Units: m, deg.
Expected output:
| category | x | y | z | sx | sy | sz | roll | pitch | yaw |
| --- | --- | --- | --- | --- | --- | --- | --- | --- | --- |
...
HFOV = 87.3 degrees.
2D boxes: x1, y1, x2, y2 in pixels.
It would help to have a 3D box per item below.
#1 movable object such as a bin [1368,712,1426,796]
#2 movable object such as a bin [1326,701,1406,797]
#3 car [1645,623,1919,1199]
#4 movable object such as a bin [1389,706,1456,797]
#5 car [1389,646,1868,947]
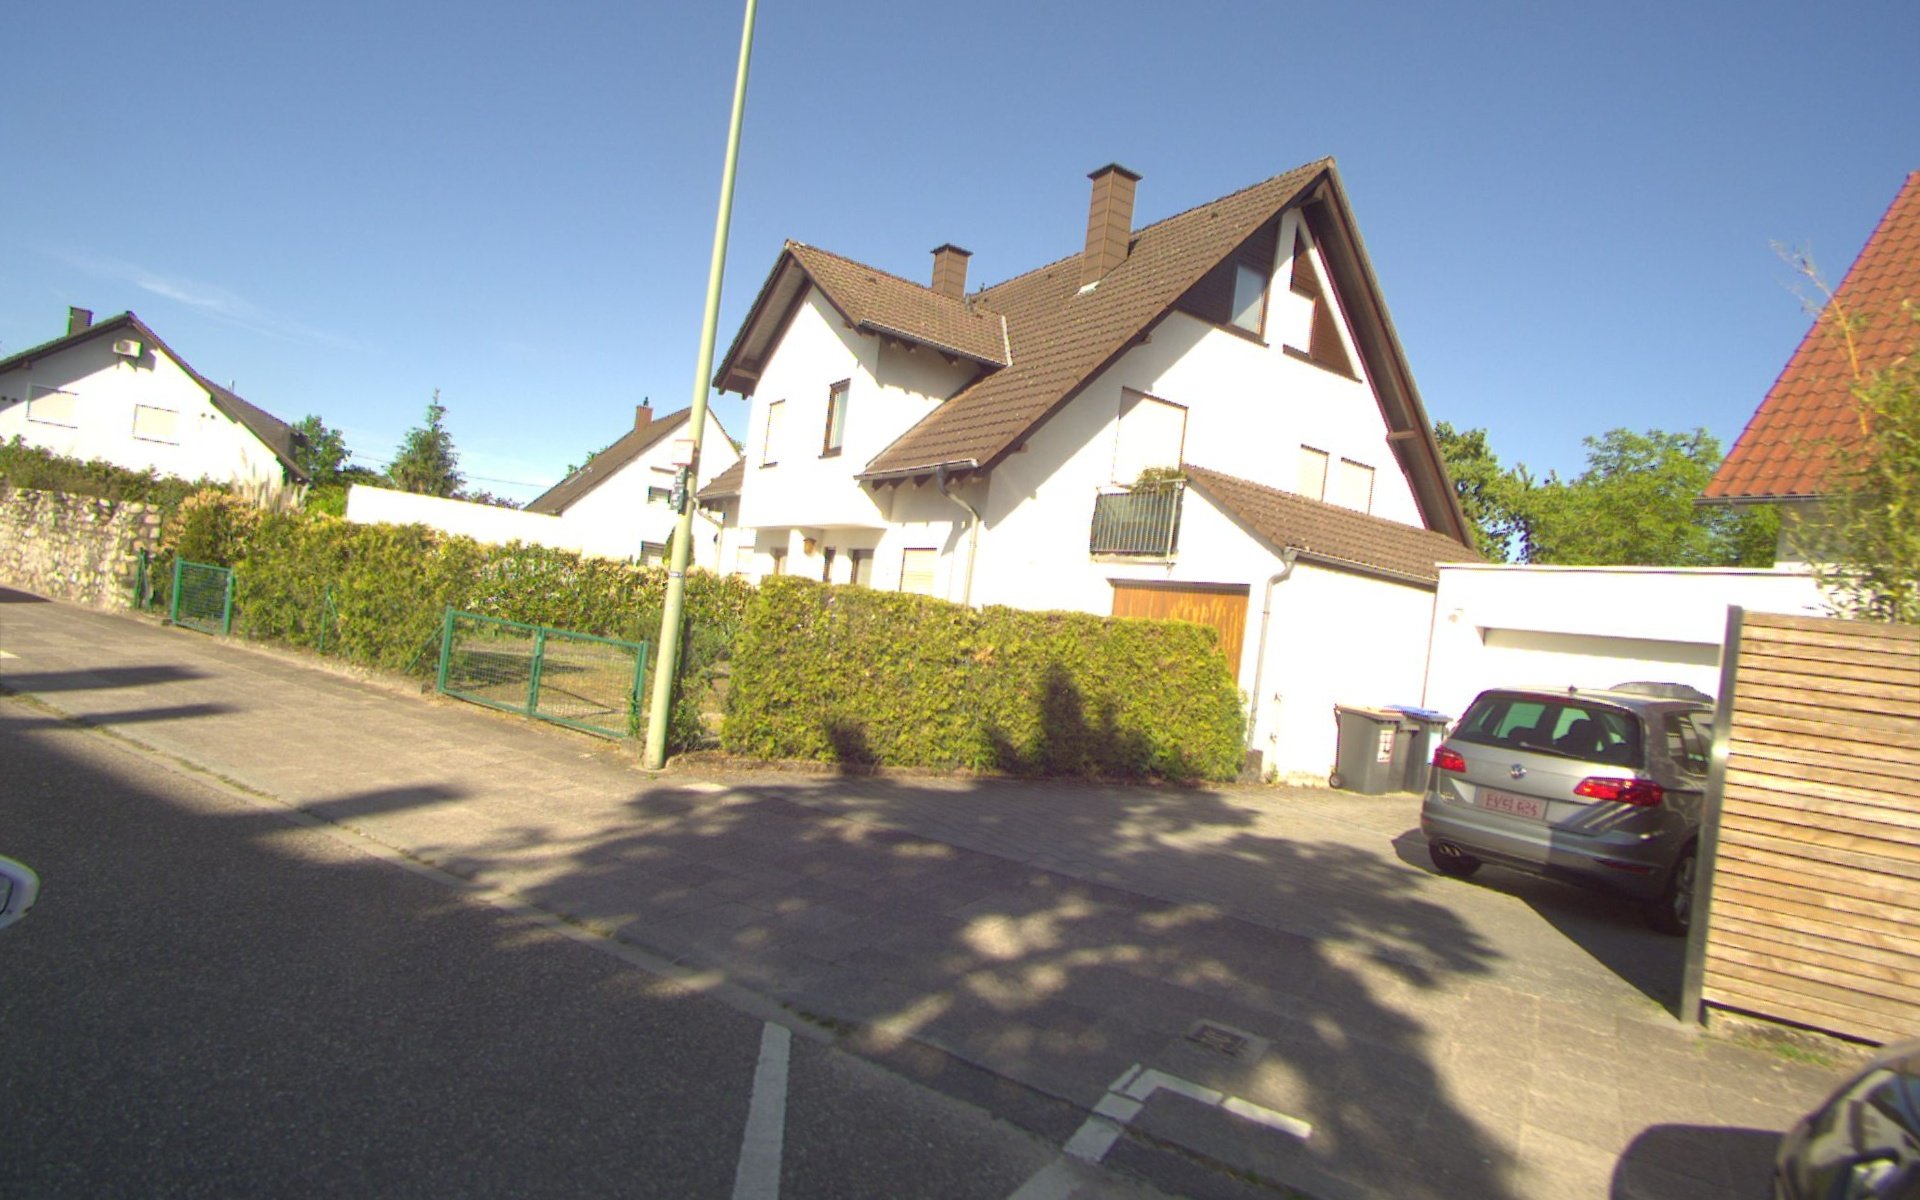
| category | x | y | z | sx | sy | sz | roll | pitch | yaw |
| --- | --- | --- | --- | --- | --- | --- | --- | --- | --- |
| movable object such as a bin | 5.444 | 1.917 | 12.545 | 0.360 | 0.953 | 0.437 | 7 | 0 | -31 |
| movable object such as a bin | 4.951 | 1.811 | 12.285 | 0.507 | 1.055 | 0.619 | 7 | 0 | -31 |
| car | 3.210 | 1.091 | 1.118 | 3.750 | 1.619 | 1.661 | 7 | -1 | 28 |
| movable object such as a bin | 5.854 | 1.914 | 12.748 | 0.482 | 1.055 | 0.481 | 7 | 0 | -32 |
| car | 5.425 | 1.474 | 8.015 | 3.963 | 1.705 | 1.695 | 8 | -1 | -34 |
